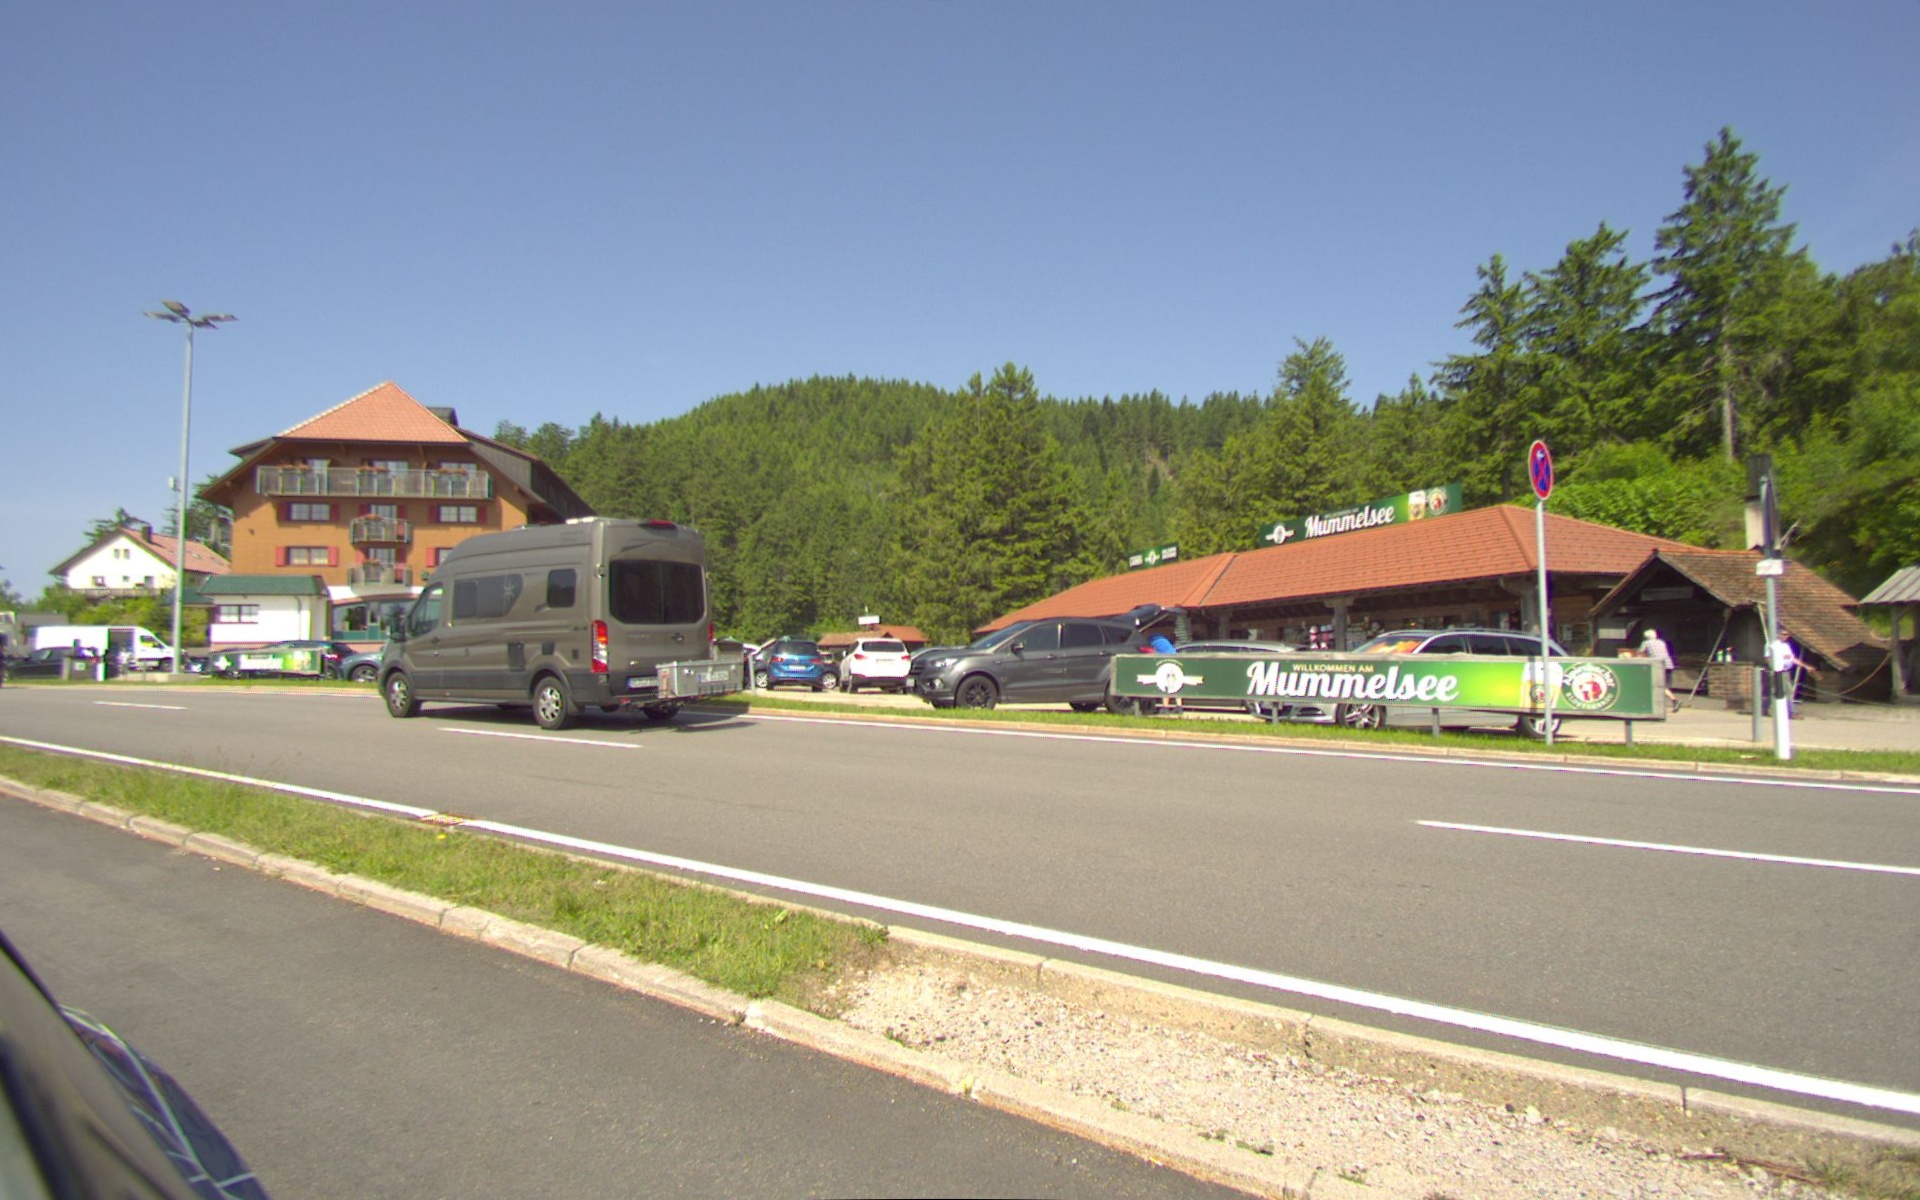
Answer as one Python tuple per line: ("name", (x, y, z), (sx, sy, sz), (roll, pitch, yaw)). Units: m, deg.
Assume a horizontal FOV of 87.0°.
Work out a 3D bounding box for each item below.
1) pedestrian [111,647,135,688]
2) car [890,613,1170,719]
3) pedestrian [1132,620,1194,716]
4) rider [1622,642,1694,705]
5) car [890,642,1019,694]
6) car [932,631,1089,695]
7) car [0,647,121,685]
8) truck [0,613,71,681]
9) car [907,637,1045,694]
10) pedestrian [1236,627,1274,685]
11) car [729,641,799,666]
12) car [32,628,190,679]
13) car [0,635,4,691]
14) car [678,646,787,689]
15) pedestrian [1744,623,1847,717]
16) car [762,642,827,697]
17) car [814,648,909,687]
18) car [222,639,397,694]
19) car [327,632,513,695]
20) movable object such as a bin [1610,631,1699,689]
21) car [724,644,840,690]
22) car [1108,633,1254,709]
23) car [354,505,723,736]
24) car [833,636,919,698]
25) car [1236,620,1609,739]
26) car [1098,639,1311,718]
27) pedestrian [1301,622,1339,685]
("pedestrian", (-39.255, 3.166, 47.472), (0.662, 1.878, 0.754), (1, -3, -27))
("car", (1.179, 1.122, 17.436), (4.474, 1.669, 1.727), (1, -3, -17))
("pedestrian", (3.589, 1.192, 17.955), (0.733, 1.648, 0.849), (1, -3, -18))
("rider", (14.788, 1.543, 21.469), (0.826, 1.284, 0.910), (0, -2, -5))
("car", (-0.210, 2.324, 34.836), (4.024, 1.729, 1.926), (1, -3, -17))
("car", (1.402, 1.774, 28.628), (4.026, 1.729, 1.925), (1, -3, -14))
("car", (-37.647, 2.724, 41.895), (4.024, 1.539, 1.830), (1, -3, -19))
("truck", (-56.979, 2.862, 60.456), (2.834, 3.850, 9.045), (-1, -2, -21))
("car", (0.483, 2.075, 32.333), (4.026, 1.729, 1.925), (1, -3, -14))
("pedestrian", (10.524, 1.986, 36.086), (0.948, 2.029, 0.859), (1, -2, -21))
("car", (-13.975, 3.806, 72.059), (4.764, 1.729, 1.925), (1, -3, -14))
("car", (-49.320, 3.086, 59.045), (6.855, 2.812, 2.671), (2, -3, -40))
("car", (-30.960, 1.911, 30.786), (4.116, 1.695, 1.703), (-2, -3, 32))
("car", (-8.897, 2.618, 39.530), (4.025, 1.641, 1.829), (1, -3, -15))
("pedestrian", (15.908, 1.316, 19.292), (0.962, 1.711, 1.166), (1, -3, -24))
("car", (-5.426, 2.218, 32.823), (1.794, 1.641, 4.105), (1, -3, -13))
("car", (-4.569, 3.093, 46.762), (4.024, 1.729, 1.926), (1, -3, -17))
("car", (-20.146, 2.059, 31.533), (4.199, 1.641, 1.829), (1, -3, -15))
("car", (-14.804, 1.749, 28.001), (4.199, 1.641, 1.829), (1, -3, -15))
("movable object such as a bin", (14.763, 1.260, 21.552), (0.969, 1.198, 1.218), (0, -2, -5))
("car", (-6.597, 2.477, 37.410), (4.025, 1.641, 1.829), (1, -3, -15))
("car", (5.382, 1.720, 25.230), (1.888, 1.729, 4.106), (1, -3, -15))
("car", (-6.240, 0.352, 14.658), (5.901, 2.772, 1.994), (-2, -3, 34))
("car", (-2.594, 1.971, 30.351), (1.888, 1.729, 4.106), (1, -3, -15))
("car", (6.163, 1.040, 13.608), (4.427, 1.441, 1.726), (1, -3, -14))
("car", (4.898, 1.525, 20.255), (3.971, 1.441, 1.710), (-1, -3, 21))
("pedestrian", (11.913, 1.763, 33.494), (0.911, 2.029, 0.725), (1, -2, -22))
